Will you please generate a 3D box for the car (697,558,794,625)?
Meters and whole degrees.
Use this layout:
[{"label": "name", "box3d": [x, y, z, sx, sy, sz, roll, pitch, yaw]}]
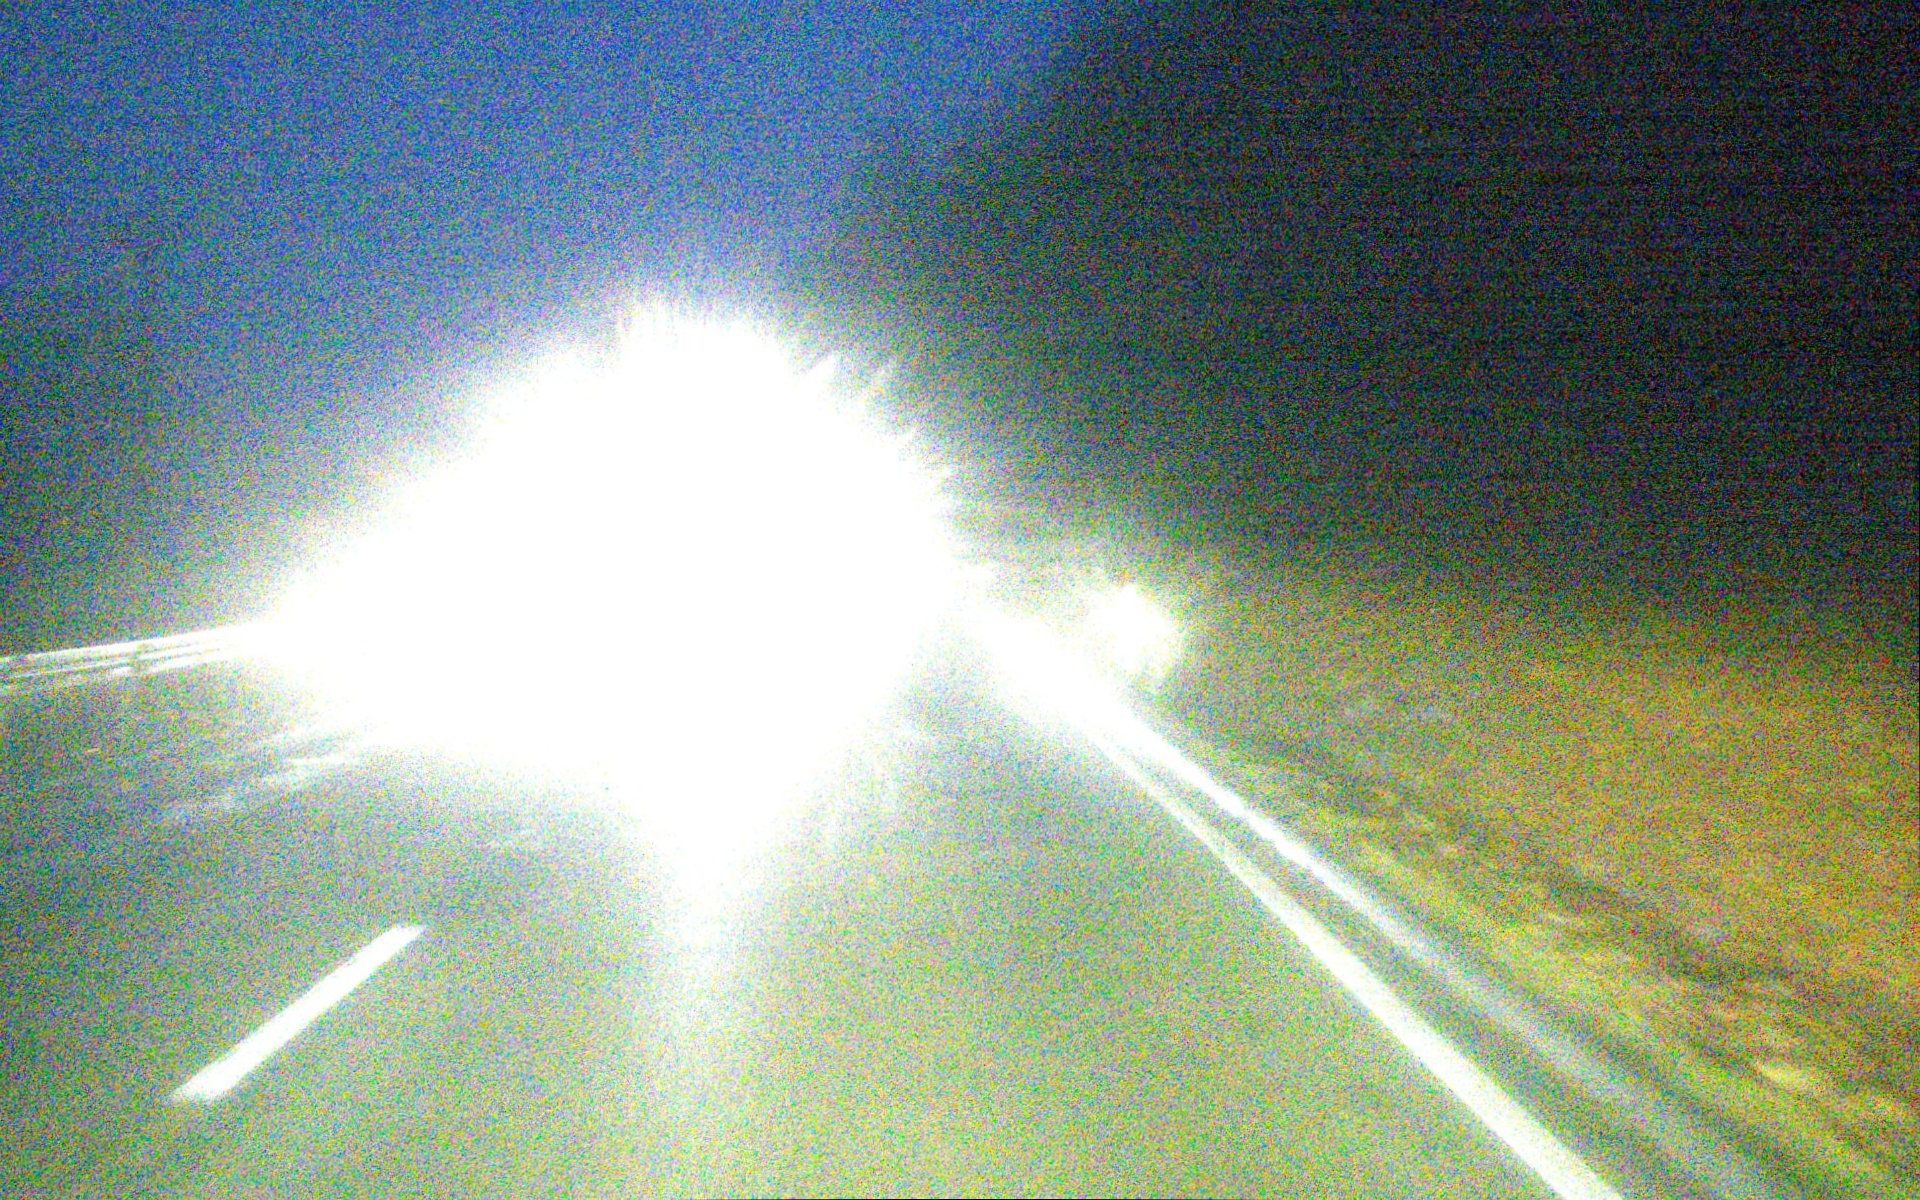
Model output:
[{"label": "car", "box3d": [-4.865, -0.214, 78.520, 1.993, 1.443, 4.430, 1, 1, -1]}]
